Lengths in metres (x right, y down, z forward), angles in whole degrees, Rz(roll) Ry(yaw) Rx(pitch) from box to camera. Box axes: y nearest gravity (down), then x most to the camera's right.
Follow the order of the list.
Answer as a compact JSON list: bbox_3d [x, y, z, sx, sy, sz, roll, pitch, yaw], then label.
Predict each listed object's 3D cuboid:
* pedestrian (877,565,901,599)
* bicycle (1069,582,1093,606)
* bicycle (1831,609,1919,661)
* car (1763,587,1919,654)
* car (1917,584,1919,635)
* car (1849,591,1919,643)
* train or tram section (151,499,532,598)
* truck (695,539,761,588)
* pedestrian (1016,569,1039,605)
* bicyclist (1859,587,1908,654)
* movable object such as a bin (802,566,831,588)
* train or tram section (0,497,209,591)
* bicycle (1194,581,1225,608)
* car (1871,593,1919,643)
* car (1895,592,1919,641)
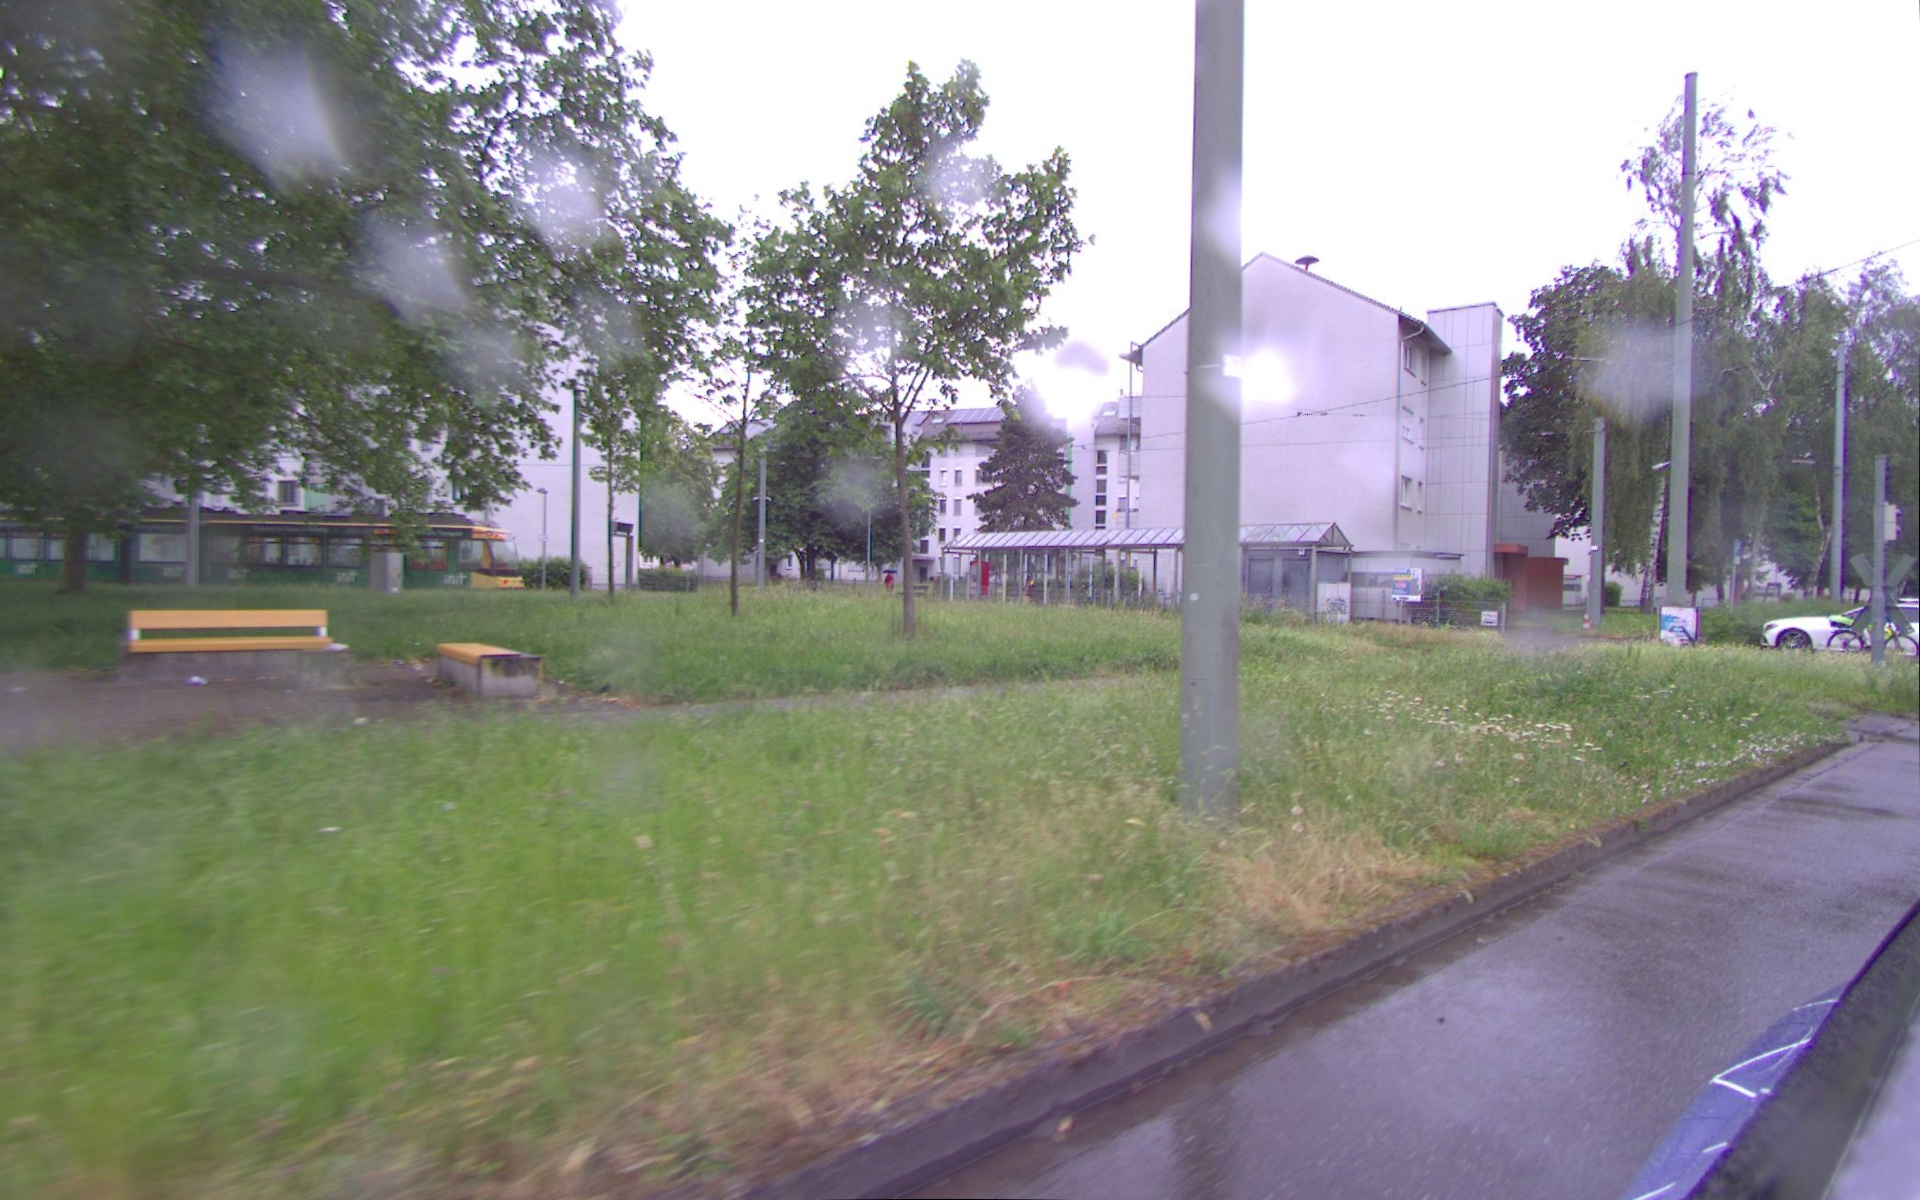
[{"bbox_3d":[-3.975,-0.988,56.701,1.165,1.907,1.056,0,-1,-12],"label":"pedestrian"},{"bbox_3d":[4.935,-0.234,41.121,0.415,0.959,1.291,-1,0,34],"label":"bicycle"},{"bbox_3d":[21.803,0.822,23.897,1.740,1.144,0.720,1,0,33],"label":"bicycle"},{"bbox_3d":[23.742,0.552,25.727,1.964,1.476,4.840,1,3,-38],"label":"car"},{"bbox_3d":[41.757,0.379,40.829,1.693,2.088,4.436,0,0,-42],"label":"car"},{"bbox_3d":[28.564,0.493,29.295,1.691,1.505,3.996,0,0,-38],"label":"car"},{"bbox_3d":[-24.915,-2.070,40.954,14.480,3.635,2.710,1,0,6],"label":"train or tram section"},{"bbox_3d":[-18.097,-2.753,78.650,3.138,3.518,7.155,0,0,-29],"label":"truck"},{"bbox_3d":[2.949,-0.569,44.414,0.776,1.592,0.635,0,-1,-41],"label":"pedestrian"},{"bbox_3d":[21.813,0.473,23.917,0.693,1.536,0.717,1,0,32],"label":"bicyclist"},{"bbox_3d":[-13.866,-2.221,97.877,1.883,2.039,2.218,0,0,25],"label":"movable object such as a bin"},{"bbox_3d":[-39.320,-2.367,42.469,14.480,3.635,2.710,1,0,6],"label":"train or tram section"},{"bbox_3d":[8.895,-0.198,36.042,1.215,0.968,0.377,0,-1,-37],"label":"bicycle"},{"bbox_3d":[32.256,0.582,32.675,1.691,1.606,3.996,0,0,-38],"label":"car"},{"bbox_3d":[37.892,0.610,37.591,1.691,1.869,4.442,0,0,-38],"label":"car"}]
